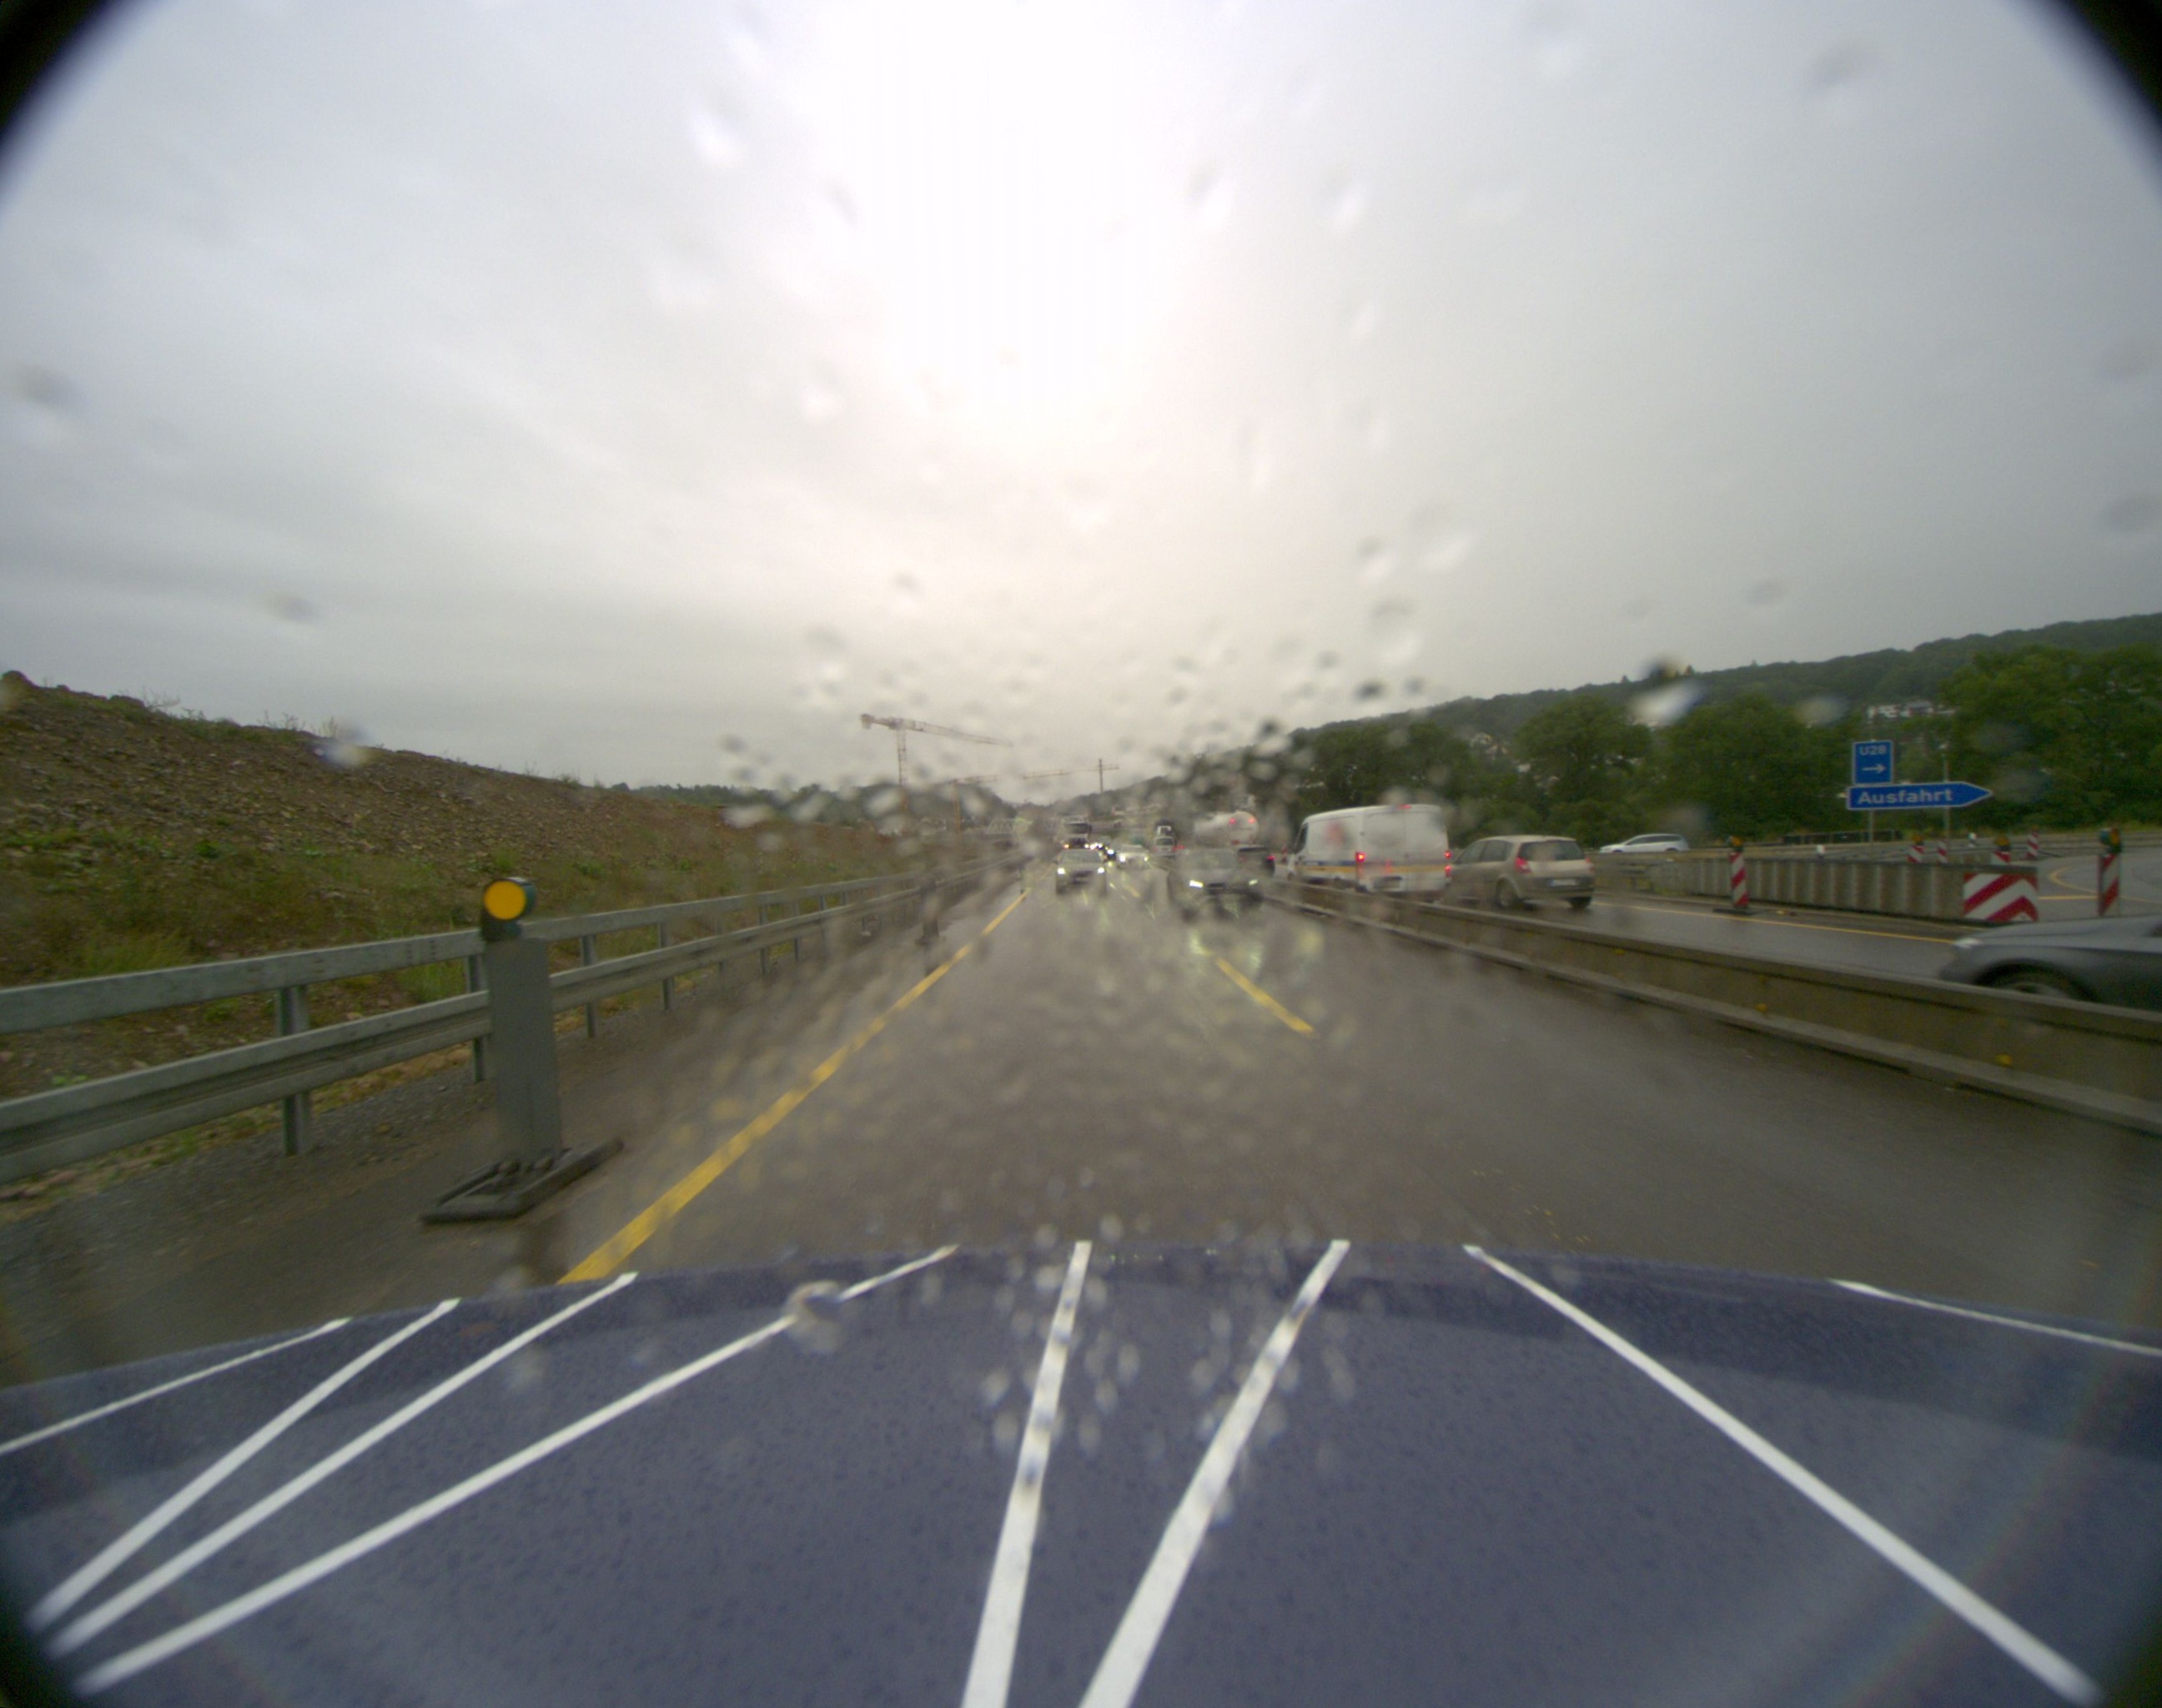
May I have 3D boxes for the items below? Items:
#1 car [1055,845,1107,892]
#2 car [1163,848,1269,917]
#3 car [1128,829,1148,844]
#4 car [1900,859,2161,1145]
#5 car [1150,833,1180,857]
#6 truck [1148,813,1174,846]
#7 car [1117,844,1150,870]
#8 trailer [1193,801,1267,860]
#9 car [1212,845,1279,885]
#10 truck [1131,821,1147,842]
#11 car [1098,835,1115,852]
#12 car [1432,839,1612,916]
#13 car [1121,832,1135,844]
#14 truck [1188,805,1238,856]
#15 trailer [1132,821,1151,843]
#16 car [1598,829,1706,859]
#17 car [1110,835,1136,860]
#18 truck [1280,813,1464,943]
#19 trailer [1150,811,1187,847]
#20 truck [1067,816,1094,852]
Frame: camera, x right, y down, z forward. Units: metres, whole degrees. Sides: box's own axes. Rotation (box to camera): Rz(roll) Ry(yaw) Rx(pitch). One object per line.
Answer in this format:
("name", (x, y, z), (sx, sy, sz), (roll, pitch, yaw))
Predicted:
("car", (0.034, 0.485, 28.658), (1.781, 1.514, 4.139), (-2, 2, 1))
("car", (3.333, 0.642, 19.599), (1.951, 1.430, 4.482), (-2, 2, 1))
("car", (6.981, -2.105, 93.509), (1.998, 1.749, 4.686), (-2, 1, 0))
("car", (6.905, 0.851, 3.416), (1.791, 1.529, 4.311), (-1, 1, 0))
("car", (6.716, -0.729, 60.893), (1.870, 1.790, 4.161), (-2, 2, 0))
("truck", (10.475, -3.229, 100.146), (2.756, 4.039, 6.145), (-2, 2, 0))
("car", (3.225, 0.136, 47.394), (1.781, 1.430, 4.482), (-2, 2, 1))
("trailer", (10.238, -1.635, 53.648), (2.627, 3.657, 11.999), (-2, 2, -1))
("car", (6.789, 0.403, 31.847), (1.777, 1.496, 4.677), (-1, 1, 0))
("truck", (11.005, -4.214, 144.110), (2.693, 3.905, 5.272), (0, 2, 0))
("car", (3.250, -1.369, 97.087), (1.999, 2.001, 4.187), (-2, 0, 0))
("car", (9.967, 0.459, 17.571), (1.792, 1.537, 3.999), (-2, 1, 0))
("car", (7.172, -2.510, 116.597), (1.792, 1.795, 5.188), (0, 2, 0))
("truck", (10.190, -1.798, 59.155), (2.627, 3.657, 6.592), (-2, 2, -1))
("trailer", (11.041, -4.087, 140.216), (2.693, 3.941, 9.816), (0, 2, 0))
("car", (34.867, -0.587, 46.589), (5.032, 1.691, 1.853), (-1, 2, 28))
("car", (3.536, -0.561, 63.075), (1.998, 2.002, 4.000), (-1, 1, 4))
("truck", (6.655, 0.401, 18.286), (2.084, 2.562, 5.959), (-2, 2, 0))
("trailer", (10.428, -3.003, 92.080), (2.756, 4.020, 15.353), (-2, 2, 0))
("truck", (-0.028, -2.097, 77.753), (2.575, 3.451, 6.625), (-2, 2, 1))
